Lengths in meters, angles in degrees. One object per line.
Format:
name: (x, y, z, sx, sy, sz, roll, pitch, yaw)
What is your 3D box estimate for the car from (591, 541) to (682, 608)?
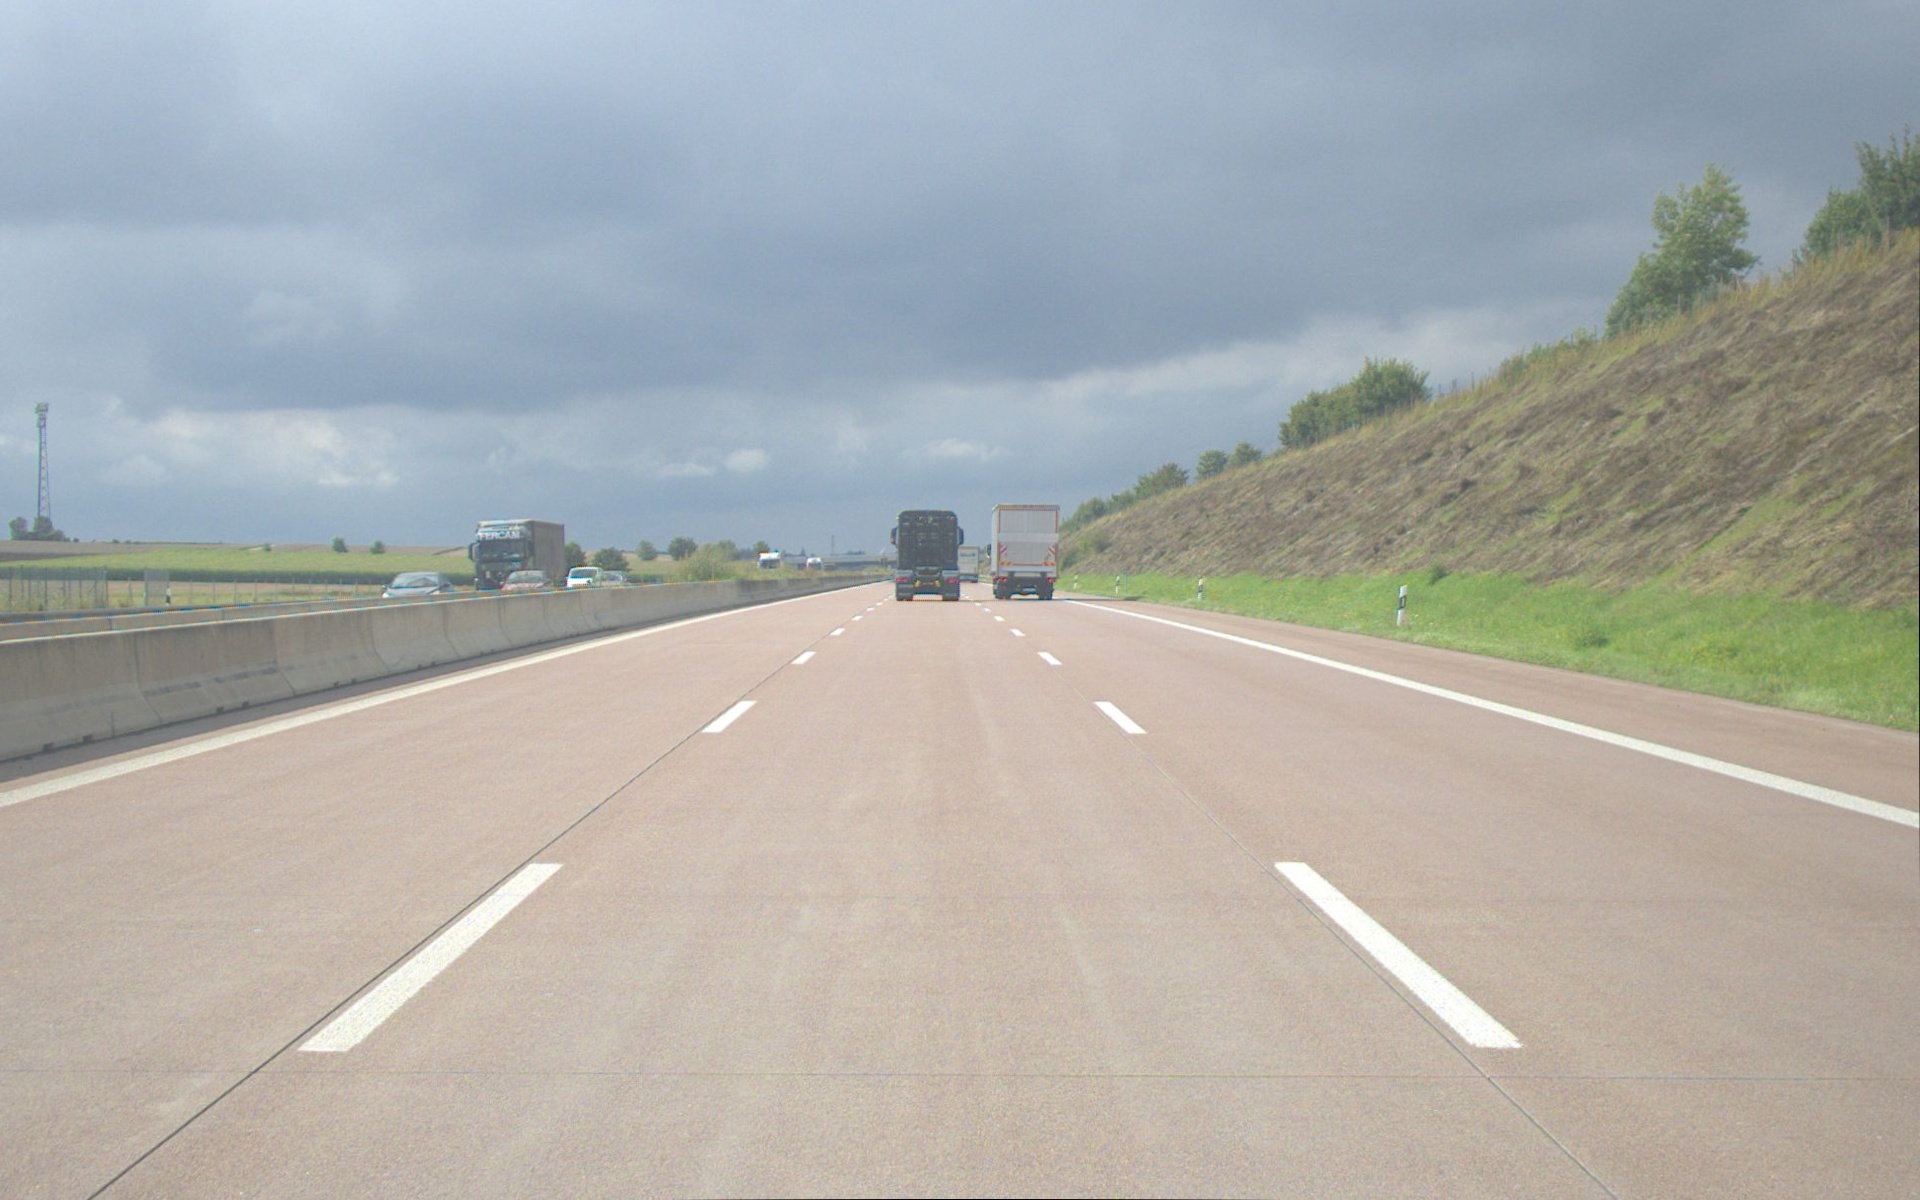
car: (-8.270, -0.671, 88.123, 1.972, 1.656, 4.082, 1, 1, -1)

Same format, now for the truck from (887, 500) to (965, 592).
truck: (-1.407, -2.109, 137.048, 2.847, 3.537, 8.320, 0, 0, -2)

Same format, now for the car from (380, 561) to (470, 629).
car: (-16.386, -0.165, 105.532, 1.986, 2.007, 5.052, 1, 0, -1)

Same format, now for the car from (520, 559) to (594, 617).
car: (-8.314, -0.265, 71.047, 1.222, 1.148, 2.758, 1, 1, -1)

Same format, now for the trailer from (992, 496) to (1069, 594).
trailer: (2.938, -2.290, 145.838, 2.747, 3.998, 8.671, 0, 0, -2)
